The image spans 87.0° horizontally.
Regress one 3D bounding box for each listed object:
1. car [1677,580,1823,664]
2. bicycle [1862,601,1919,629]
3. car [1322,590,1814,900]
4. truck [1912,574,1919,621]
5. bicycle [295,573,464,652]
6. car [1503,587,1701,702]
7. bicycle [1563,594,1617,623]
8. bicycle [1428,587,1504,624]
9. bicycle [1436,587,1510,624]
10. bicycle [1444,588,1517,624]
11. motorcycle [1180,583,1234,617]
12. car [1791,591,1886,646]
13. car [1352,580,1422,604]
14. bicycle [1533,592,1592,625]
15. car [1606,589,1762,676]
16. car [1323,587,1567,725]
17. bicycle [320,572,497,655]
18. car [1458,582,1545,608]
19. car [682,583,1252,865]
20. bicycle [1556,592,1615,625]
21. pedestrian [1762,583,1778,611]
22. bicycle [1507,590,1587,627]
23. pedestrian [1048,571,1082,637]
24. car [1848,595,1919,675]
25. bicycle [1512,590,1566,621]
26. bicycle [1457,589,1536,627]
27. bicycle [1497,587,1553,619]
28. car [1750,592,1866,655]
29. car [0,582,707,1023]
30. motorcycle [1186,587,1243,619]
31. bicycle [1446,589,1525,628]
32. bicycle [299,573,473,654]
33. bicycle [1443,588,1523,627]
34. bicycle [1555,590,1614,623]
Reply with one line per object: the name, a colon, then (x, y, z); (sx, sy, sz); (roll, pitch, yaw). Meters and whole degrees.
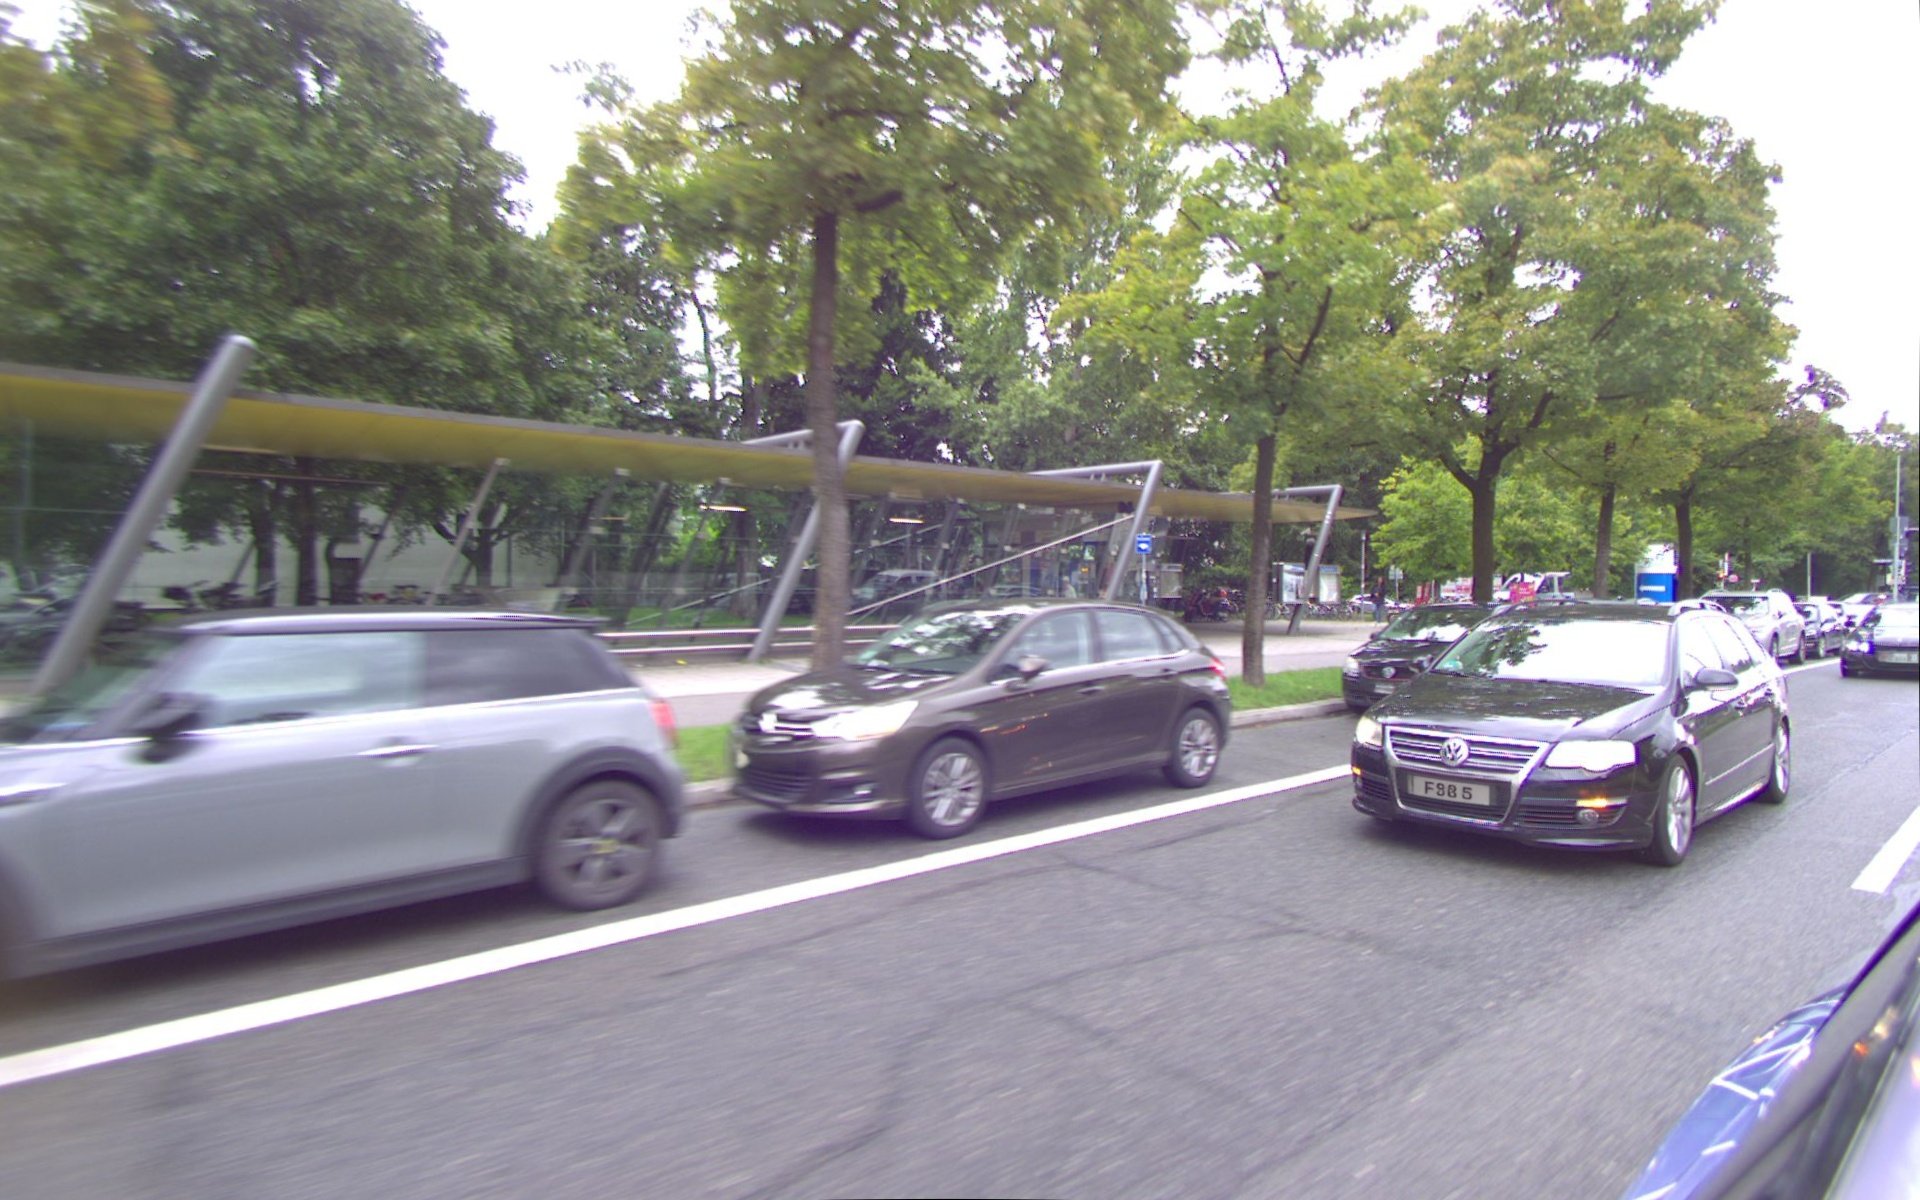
car: (18.201, 0.462, 23.237); (4.820, 1.746, 1.750); (0, 0, -41)
bicycle: (38.785, 0.625, 41.954); (1.919, 1.094, 0.744); (1, 1, 14)
car: (4.485, 0.681, 7.097); (4.592, 1.493, 1.749); (0, 0, -43)
truck: (56.564, -0.171, 57.421); (7.086, 2.636, 2.001); (-1, 1, -32)
bicycle: (-10.138, 0.198, 17.759); (2.506, 1.296, 0.646); (0, 1, -41)
car: (10.260, 0.589, 16.037); (4.327, 1.553, 1.722); (0, 1, -44)
bicycle: (25.868, 0.324, 41.574); (1.803, 1.084, 0.559); (3, 3, 39)
bicycle: (18.220, 0.178, 36.486); (0.574, 1.171, 2.344); (0, 3, -40)
bicycle: (18.667, 0.176, 36.885); (0.574, 1.171, 2.344); (0, 3, -40)
bicycle: (19.357, 0.218, 37.705); (0.574, 1.171, 2.344); (0, 3, -40)
motorcycle: (8.819, 0.012, 36.146); (1.775, 1.192, 0.660); (1, 1, -15)
car: (27.143, 0.520, 31.234); (4.306, 1.567, 1.715); (0, 1, -42)
car: (28.143, -0.548, 66.791); (1.600, 1.472, 3.941); (0, 1, -43)
bicycle: (22.908, 0.315, 38.513); (0.556, 1.156, 1.813); (0, 2, -35)
car: (14.404, 0.575, 20.045); (4.429, 1.527, 1.703); (0, -1, -44)
car: (6.495, 0.623, 13.355); (4.021, 1.554, 1.544); (0, 0, -43)
bicycle: (-9.078, 0.195, 16.752); (2.506, 1.296, 0.646); (0, 1, -41)
car: (32.877, -0.328, 61.540); (1.856, 1.516, 4.304); (0, 1, -43)
car: (0.250, 0.653, 7.531); (4.150, 1.527, 1.721); (0, 1, -41)
bicycle: (23.970, 0.319, 38.806); (0.556, 1.156, 1.814); (0, 2, -31)
pedestrian: (49.727, -0.194, 62.122); (0.758, 1.724, 0.926); (1, 1, 40)
bicycle: (20.623, 0.280, 35.611); (0.574, 1.171, 2.344); (0, 3, -40)
pedestrian: (2.484, 0.077, 23.942); (0.575, 1.532, 0.687); (1, 0, 31)
car: (19.262, 0.644, 20.110); (4.589, 1.447, 1.818); (0, 1, -41)
bicycle: (23.335, 0.218, 40.826); (0.556, 1.156, 1.813); (0, 2, -35)
bicycle: (18.606, 0.258, 35.145); (0.520, 1.171, 2.344); (1, 3, -40)
bicycle: (23.454, 0.124, 42.019); (1.936, 1.227, 0.559); (3, 2, 39)
car: (23.000, 0.588, 27.384); (4.561, 1.567, 1.750); (0, 0, -41)
car: (-3.316, 0.669, 4.412); (4.007, 1.472, 1.637); (0, 1, -41)
motorcycle: (8.842, 0.091, 35.232); (1.778, 1.075, 0.659); (1, 1, -2)
bicycle: (18.106, 0.280, 34.898); (0.520, 1.171, 2.344); (1, 3, -40)
bicycle: (-9.707, 0.197, 17.199); (2.506, 1.296, 0.646); (0, 1, -41)
bicycle: (17.778, 0.231, 34.449); (0.520, 1.171, 2.344); (1, 3, -40)
bicycle: (25.061, 0.258, 40.633); (1.936, 1.227, 0.559); (3, 2, 39)
